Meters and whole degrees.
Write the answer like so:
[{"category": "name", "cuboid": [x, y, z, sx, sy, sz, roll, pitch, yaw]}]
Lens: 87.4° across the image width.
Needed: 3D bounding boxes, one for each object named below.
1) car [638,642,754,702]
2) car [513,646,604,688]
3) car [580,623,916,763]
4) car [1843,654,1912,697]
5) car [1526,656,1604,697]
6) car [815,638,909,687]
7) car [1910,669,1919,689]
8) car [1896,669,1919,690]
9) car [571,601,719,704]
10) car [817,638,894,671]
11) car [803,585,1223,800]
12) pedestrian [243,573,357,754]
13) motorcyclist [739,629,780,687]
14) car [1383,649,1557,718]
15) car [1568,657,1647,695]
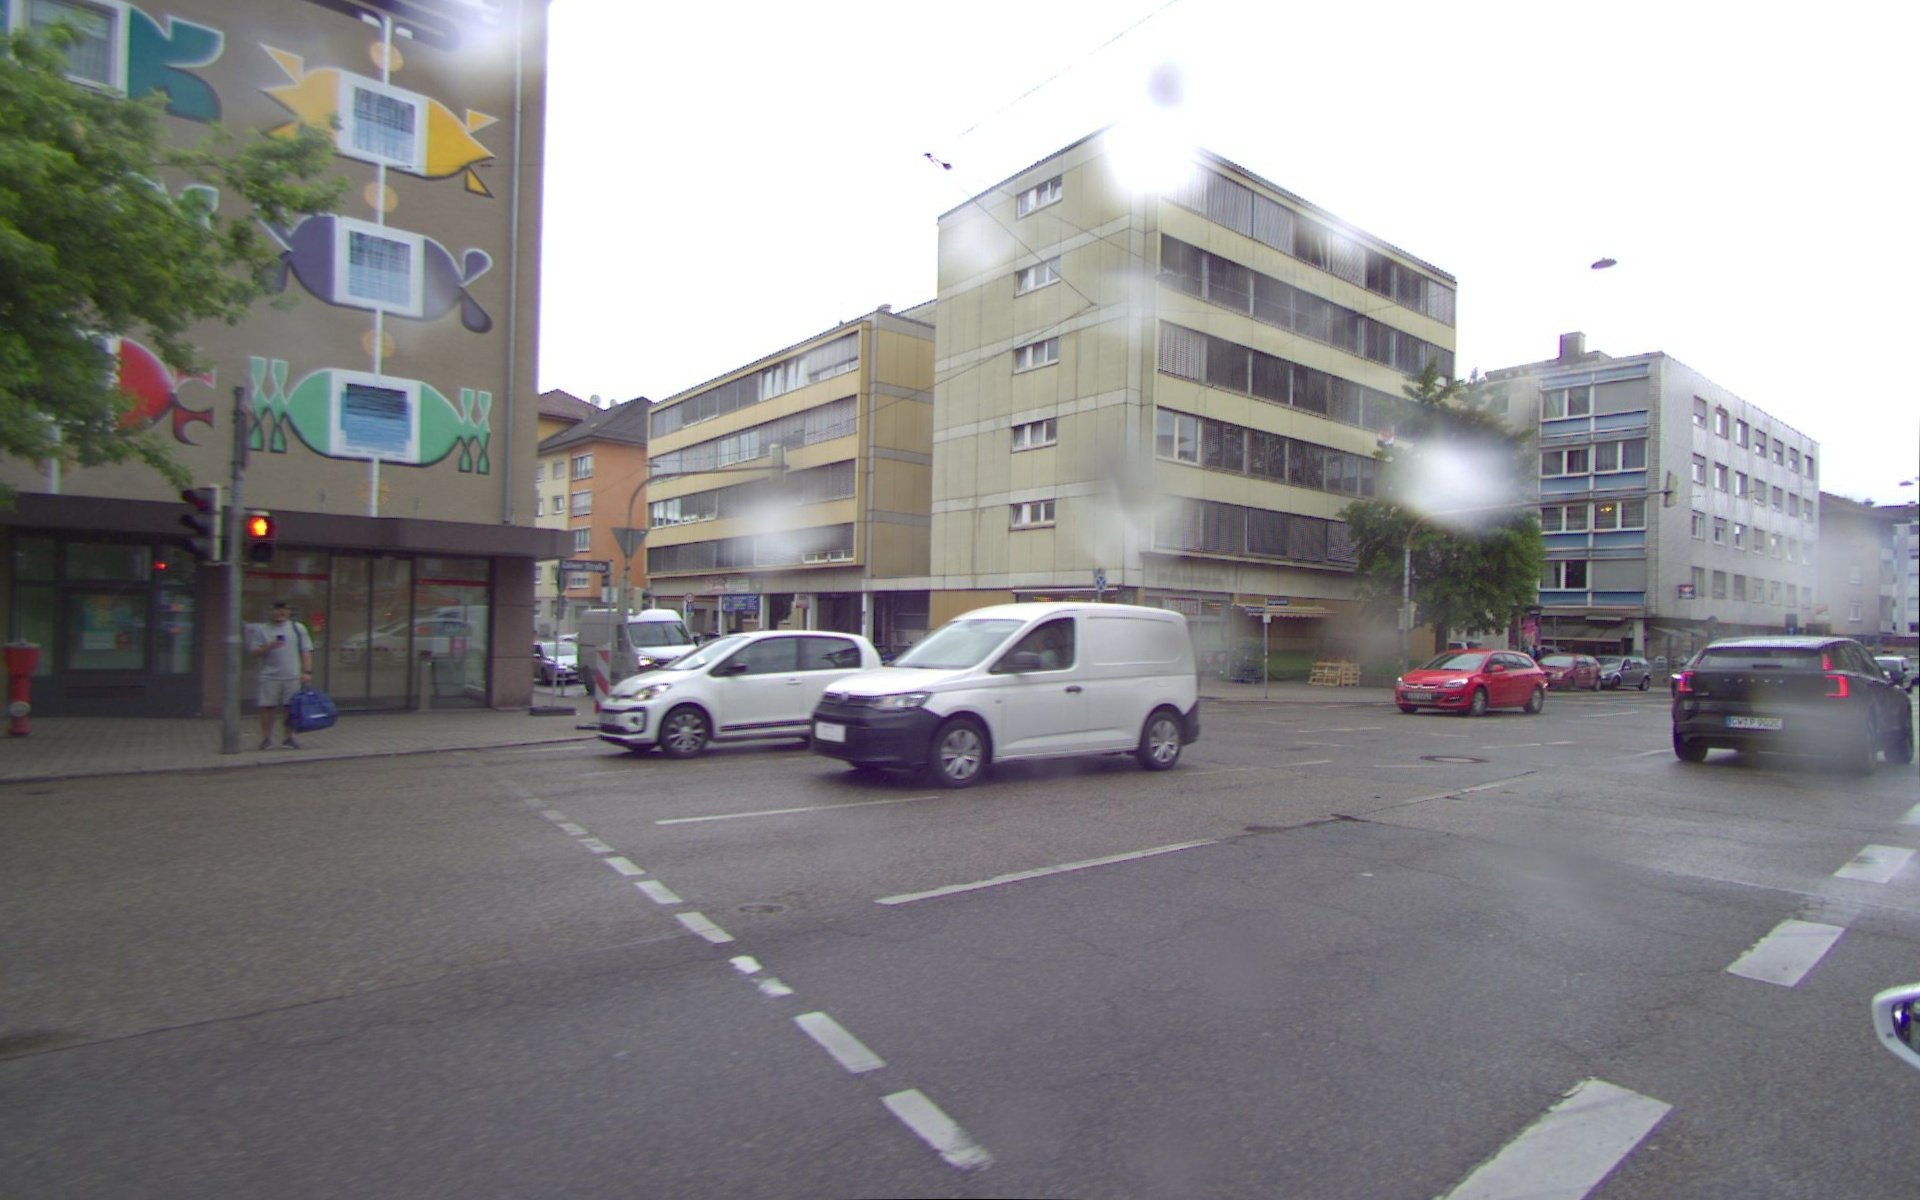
[{"category": "car", "cuboid": [-9.195, 2.467, 34.789, 2.020, 1.944, 4.393, 3, -4, -43]}, {"category": "car", "cuboid": [-14.306, 2.370, 35.705, 1.784, 1.386, 4.033, 3, -4, -41]}, {"category": "car", "cuboid": [-2.587, 1.110, 12.615, 3.758, 1.497, 1.767, 2, -4, -37]}, {"category": "car", "cuboid": [45.391, 3.704, 49.678, 3.967, 2.040, 1.895, 3, -4, -39]}, {"category": "car", "cuboid": [23.866, 2.986, 39.601, 3.581, 1.497, 1.658, 3, -3, -41]}, {"category": "car", "cuboid": [-4.222, 2.665, 42.869, 2.015, 1.944, 4.404, 2, -4, -37]}, {"category": "car", "cuboid": [75.708, 6.158, 78.258, 3.968, 1.472, 1.977, 3, -4, -40]}, {"category": "car", "cuboid": [71.037, 5.899, 74.438, 3.967, 1.472, 1.978, 3, -4, -40]}, {"category": "car", "cuboid": [-9.426, 1.562, 29.715, 2.168, 2.747, 5.712, 3, -4, -40]}, {"category": "car", "cuboid": [-5.387, 2.818, 52.071, 3.672, 1.598, 1.736, 1, -3, -44]}, {"category": "car", "cuboid": [0.693, 0.897, 10.685, 4.365, 1.839, 1.767, 2, -3, -37]}, {"category": "pedestrian", "cuboid": [-7.882, 0.740, 12.001, 0.930, 2.040, 0.882, -1, -3, 42]}, {"category": "motorcyclist", "cuboid": [-6.018, 1.736, 30.160, 0.906, 1.684, 0.706, -1, -4, 34]}, {"category": "car", "cuboid": [11.765, 1.868, 23.082, 4.350, 1.427, 1.793, 2, -4, -36]}, {"category": "car", "cuboid": [27.553, 3.190, 42.706, 3.762, 1.497, 1.765, 3, -3, -40]}]
